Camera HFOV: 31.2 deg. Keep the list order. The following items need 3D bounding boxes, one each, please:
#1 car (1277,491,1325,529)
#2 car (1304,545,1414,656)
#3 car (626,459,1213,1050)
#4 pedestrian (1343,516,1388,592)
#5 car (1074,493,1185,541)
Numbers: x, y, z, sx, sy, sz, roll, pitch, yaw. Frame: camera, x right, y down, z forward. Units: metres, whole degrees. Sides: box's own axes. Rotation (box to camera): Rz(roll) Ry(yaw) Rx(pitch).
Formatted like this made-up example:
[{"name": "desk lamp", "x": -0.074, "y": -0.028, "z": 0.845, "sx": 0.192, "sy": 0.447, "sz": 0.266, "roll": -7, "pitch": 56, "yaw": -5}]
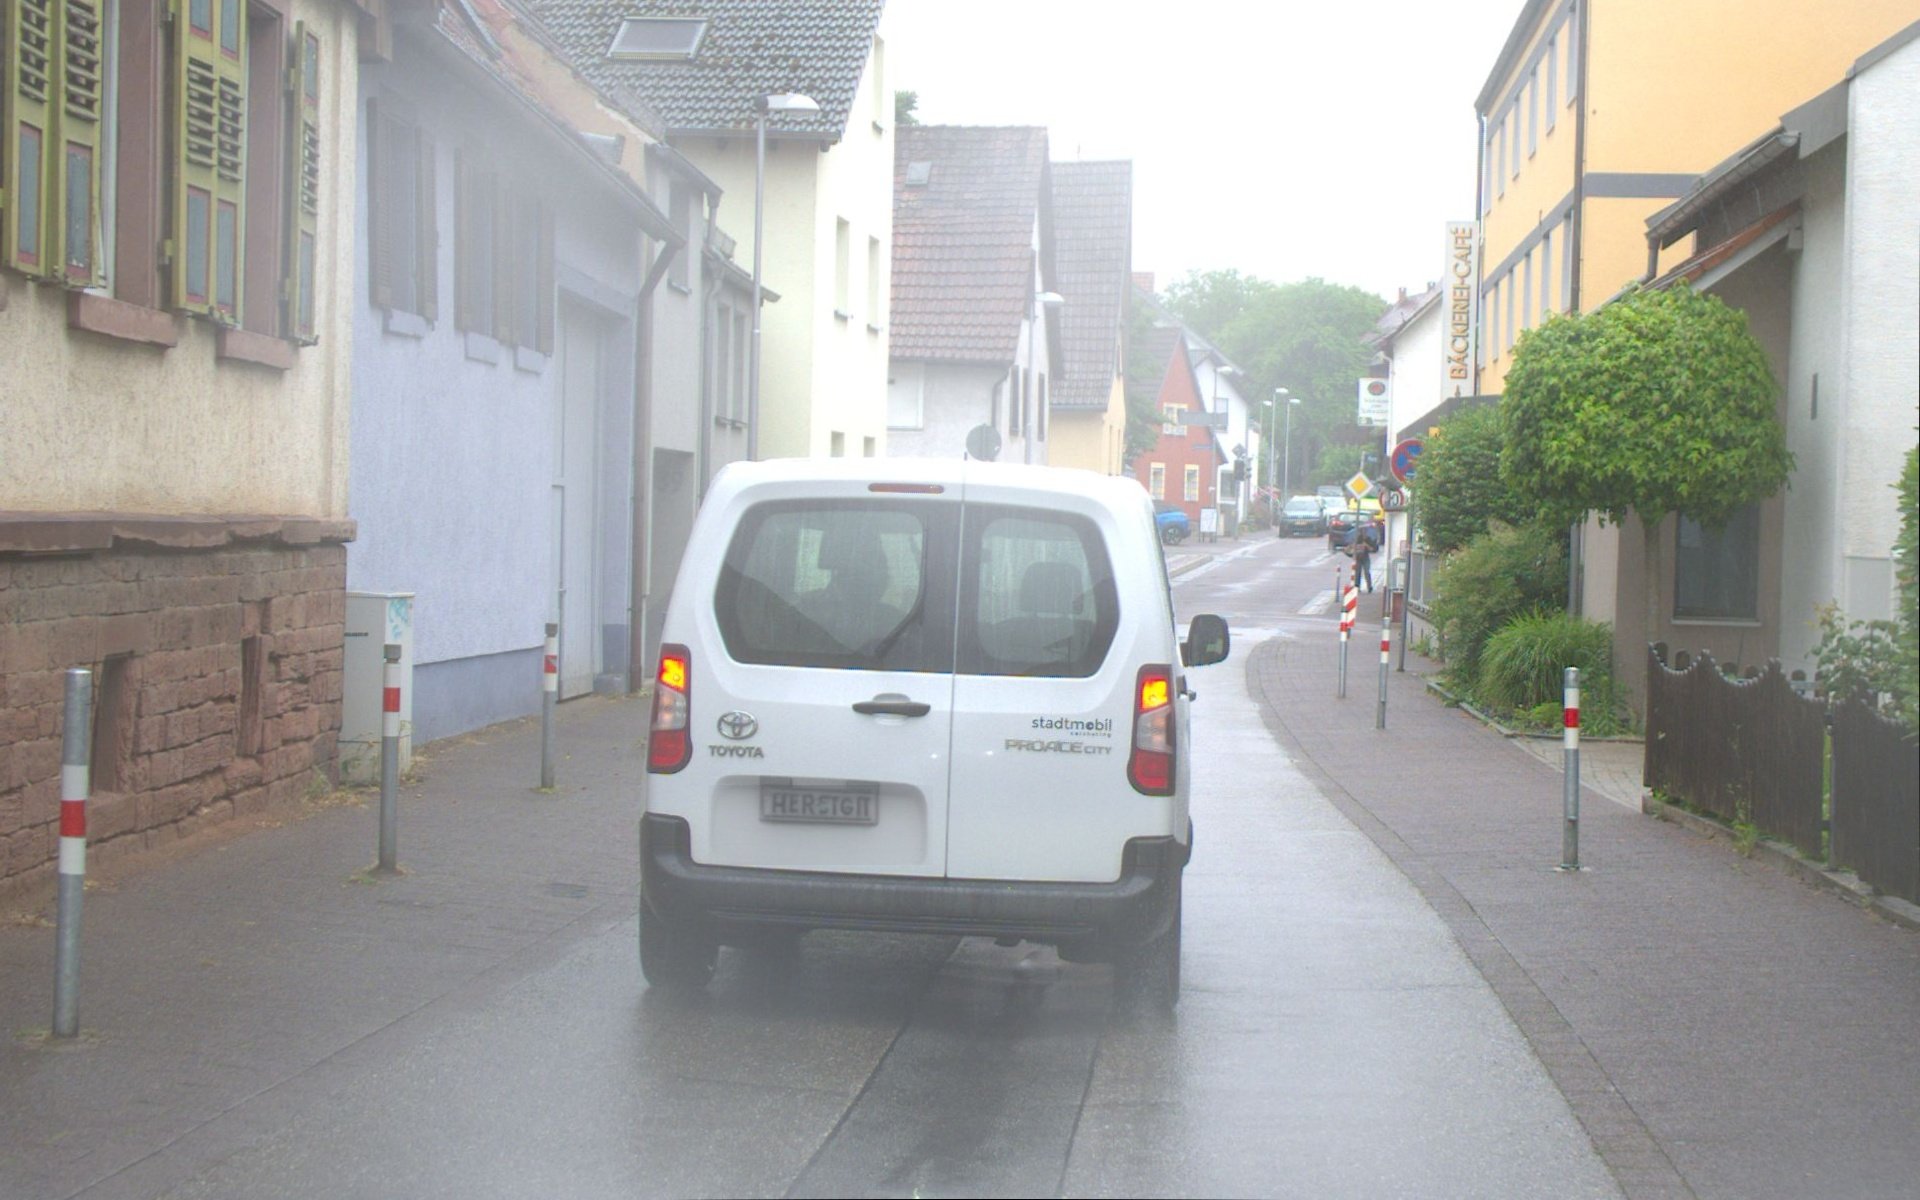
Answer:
[{"name": "car", "x": 14.391, "y": -3.779, "z": 145.050, "sx": 1.589, "sy": 1.436, "sz": 3.764, "roll": 3, "pitch": 1, "yaw": 11}, {"name": "car", "x": 7.582, "y": -0.017, "z": 65.228, "sx": 1.994, "sy": 2.007, "sz": 3.999, "roll": 1, "pitch": 1, "yaw": 7}, {"name": "car", "x": 0.004, "y": 0.443, "z": 12.479, "sx": 1.775, "sy": 1.774, "sz": 4.000, "roll": 1, "pitch": 1, "yaw": 4}, {"name": "pedestrian", "x": 10.234, "y": -1.160, "z": 86.814, "sx": 1.051, "sy": 1.886, "sz": 0.877, "roll": 1, "pitch": 1, "yaw": 4}, {"name": "car", "x": 6.003, "y": -2.953, "z": 121.985, "sx": 3.419, "sy": 1.554, "sz": 2.001, "roll": -3, "pitch": 3, "yaw": -19}]
